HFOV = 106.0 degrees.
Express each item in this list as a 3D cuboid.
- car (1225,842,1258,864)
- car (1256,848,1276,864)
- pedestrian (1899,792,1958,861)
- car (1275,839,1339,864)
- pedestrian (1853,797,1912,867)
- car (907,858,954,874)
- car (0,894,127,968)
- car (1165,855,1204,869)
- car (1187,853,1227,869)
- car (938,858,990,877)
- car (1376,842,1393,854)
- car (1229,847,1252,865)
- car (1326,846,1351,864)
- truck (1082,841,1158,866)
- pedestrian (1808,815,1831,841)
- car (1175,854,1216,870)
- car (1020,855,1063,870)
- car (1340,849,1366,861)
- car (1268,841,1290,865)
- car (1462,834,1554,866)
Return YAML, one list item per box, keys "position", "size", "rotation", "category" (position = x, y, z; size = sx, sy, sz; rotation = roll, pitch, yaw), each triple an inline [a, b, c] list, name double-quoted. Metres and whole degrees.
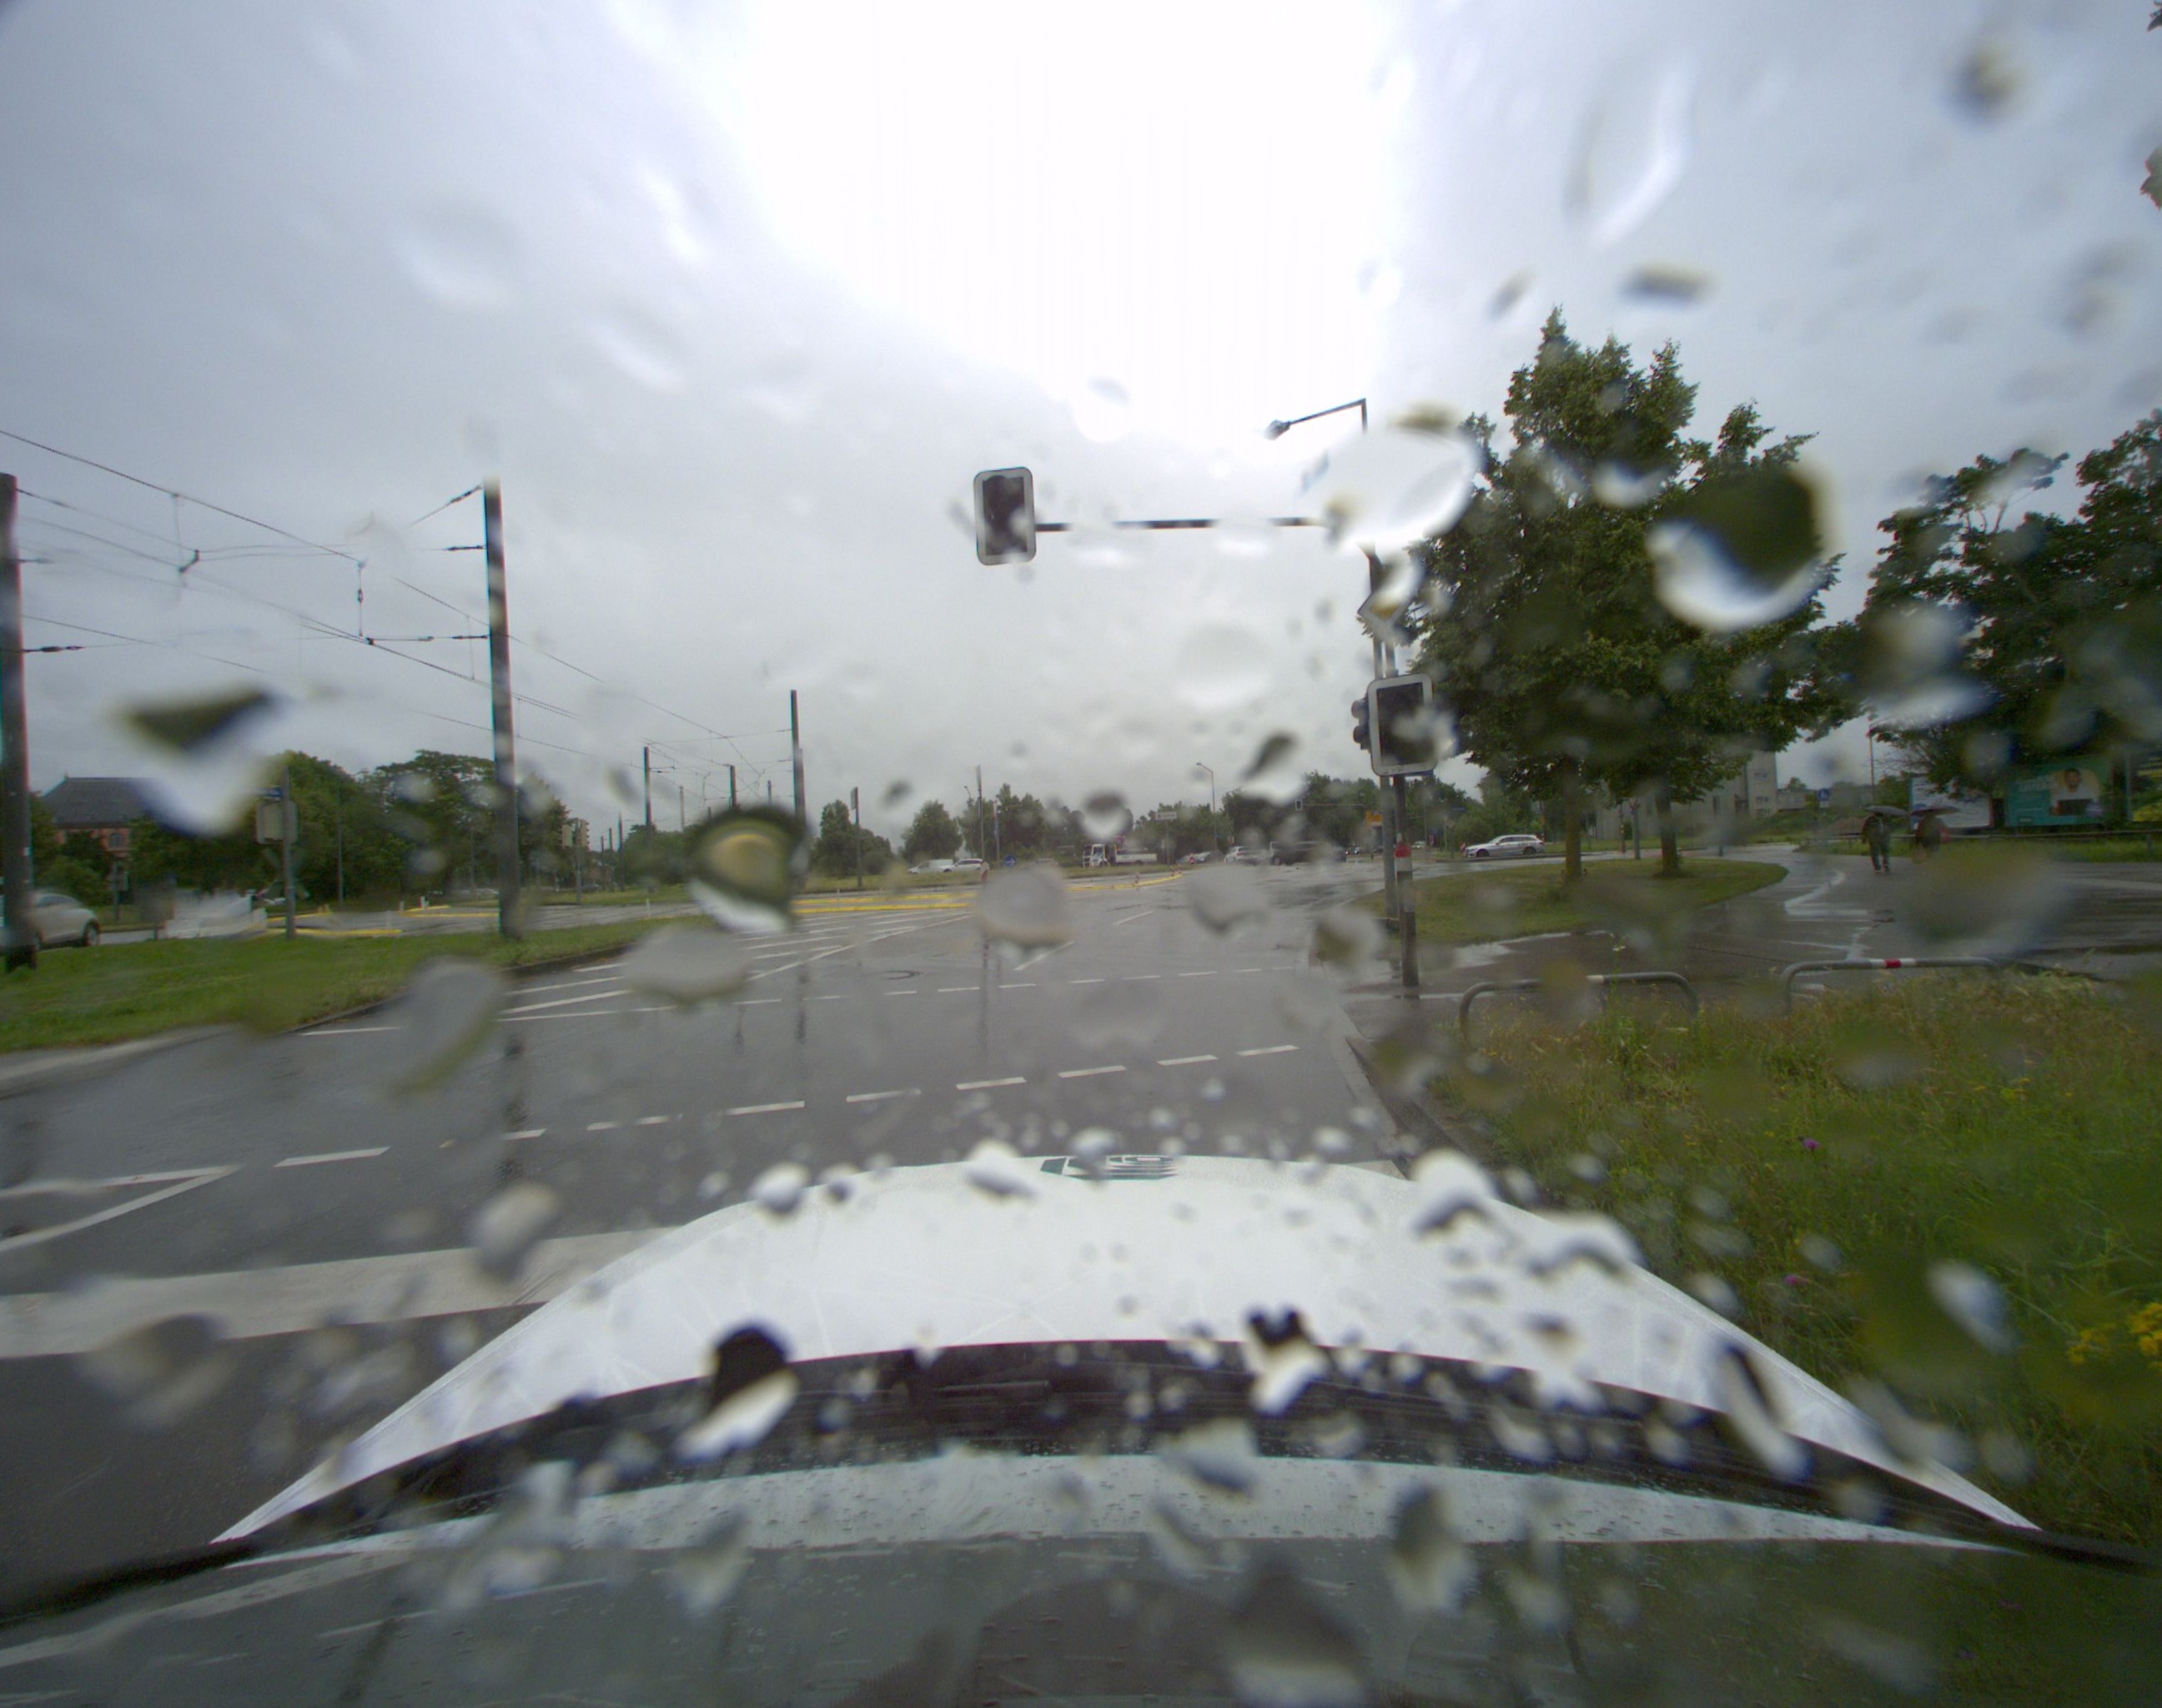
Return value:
- position: [12.730, -0.063, 64.813]
  size: [1.677, 1.648, 3.941]
  rotation: [0, -1, -4]
  category: "car"
- position: [18.084, 0.218, 79.673]
  size: [1.675, 1.492, 3.265]
  rotation: [-1, -1, 17]
  category: "car"
- position: [22.327, -0.699, 21.455]
  size: [0.811, 1.784, 0.914]
  rotation: [0, -1, -33]
  category: "pedestrian"
- position: [15.874, -0.147, 57.315]
  size: [3.948, 1.648, 1.800]
  rotation: [-1, -1, 38]
  category: "car"
- position: [20.919, -0.550, 21.260]
  size: [0.811, 1.784, 0.914]
  rotation: [0, -1, -33]
  category: "pedestrian"
- position: [-14.971, 1.201, 81.223]
  size: [4.535, 1.492, 1.606]
  rotation: [0, -1, -11]
  category: "car"
- position: [-25.474, 1.798, 19.555]
  size: [1.856, 1.486, 4.188]
  rotation: [0, -1, -28]
  category: "car"
- position: [12.526, 0.958, 98.271]
  size: [4.889, 1.744, 1.758]
  rotation: [0, -1, -38]
  category: "car"
- position: [13.885, 0.771, 89.692]
  size: [4.894, 1.744, 1.756]
  rotation: [0, -1, -45]
  category: "car"
- position: [-11.152, 1.317, 77.600]
  size: [4.849, 1.744, 1.772]
  rotation: [0, -1, -10]
  category: "car"
- position: [53.319, -1.095, 142.923]
  size: [1.771, 2.014, 3.697]
  rotation: [-1, -1, 39]
  category: "car"
- position: [14.148, 0.187, 72.164]
  size: [1.675, 1.492, 3.265]
  rotation: [-1, -1, 17]
  category: "car"
- position: [23.256, 0.092, 73.503]
  size: [1.673, 1.492, 3.269]
  rotation: [-3, 0, 24]
  category: "car"
- position: [4.470, -0.038, 91.722]
  size: [8.820, 2.711, 1.981]
  rotation: [0, -1, -29]
  category: "truck"
- position: [51.937, -1.816, 57.300]
  size: [0.947, 1.772, 0.715]
  rotation: [-1, -1, 11]
  category: "pedestrian"
- position: [13.201, 0.918, 93.916]
  size: [4.889, 1.744, 1.758]
  rotation: [0, -1, -38]
  category: "car"
- position: [-4.056, 0.860, 83.465]
  size: [4.158, 1.492, 1.598]
  rotation: [0, -1, -25]
  category: "car"
- position: [39.617, 0.172, 118.578]
  size: [1.975, 1.750, 4.023]
  rotation: [-1, -1, 45]
  category: "car"
- position: [17.249, -0.038, 70.943]
  size: [1.770, 2.036, 4.016]
  rotation: [-1, -1, 15]
  category: "car"
- position: [27.105, -0.247, 51.856]
  size: [4.793, 1.810, 1.794]
  rotation: [-3, 0, 9]
  category: "car"
